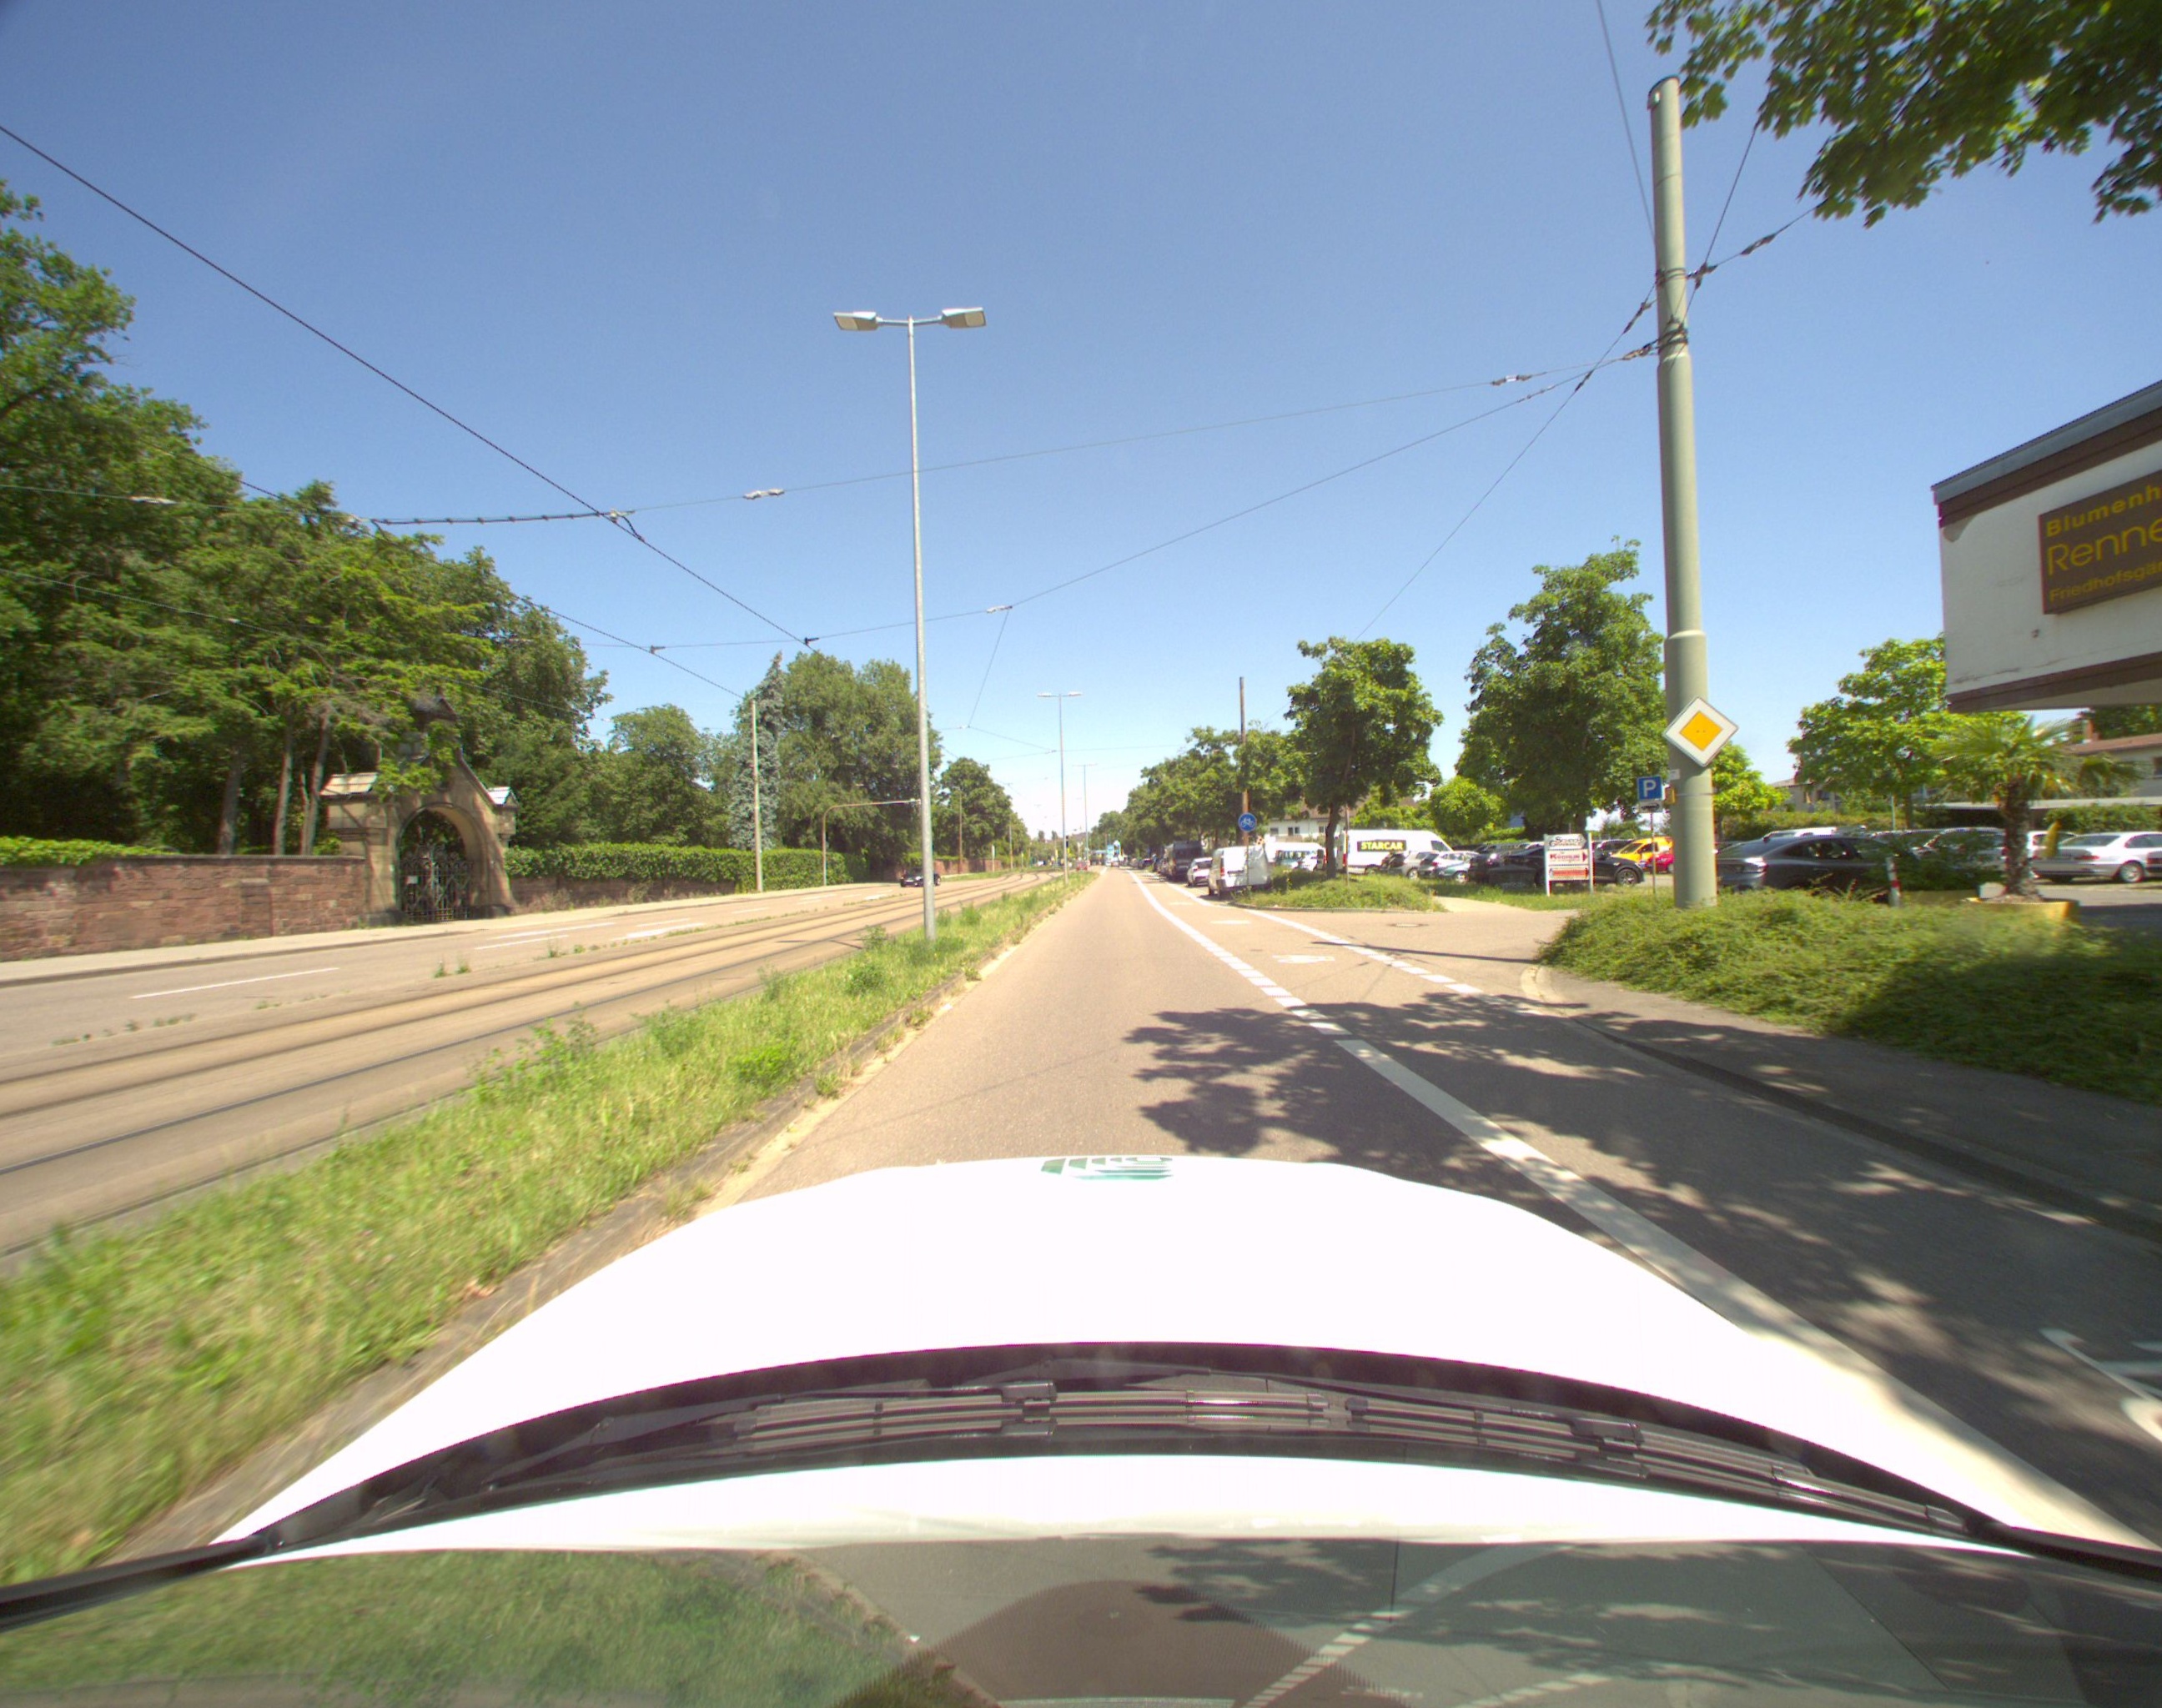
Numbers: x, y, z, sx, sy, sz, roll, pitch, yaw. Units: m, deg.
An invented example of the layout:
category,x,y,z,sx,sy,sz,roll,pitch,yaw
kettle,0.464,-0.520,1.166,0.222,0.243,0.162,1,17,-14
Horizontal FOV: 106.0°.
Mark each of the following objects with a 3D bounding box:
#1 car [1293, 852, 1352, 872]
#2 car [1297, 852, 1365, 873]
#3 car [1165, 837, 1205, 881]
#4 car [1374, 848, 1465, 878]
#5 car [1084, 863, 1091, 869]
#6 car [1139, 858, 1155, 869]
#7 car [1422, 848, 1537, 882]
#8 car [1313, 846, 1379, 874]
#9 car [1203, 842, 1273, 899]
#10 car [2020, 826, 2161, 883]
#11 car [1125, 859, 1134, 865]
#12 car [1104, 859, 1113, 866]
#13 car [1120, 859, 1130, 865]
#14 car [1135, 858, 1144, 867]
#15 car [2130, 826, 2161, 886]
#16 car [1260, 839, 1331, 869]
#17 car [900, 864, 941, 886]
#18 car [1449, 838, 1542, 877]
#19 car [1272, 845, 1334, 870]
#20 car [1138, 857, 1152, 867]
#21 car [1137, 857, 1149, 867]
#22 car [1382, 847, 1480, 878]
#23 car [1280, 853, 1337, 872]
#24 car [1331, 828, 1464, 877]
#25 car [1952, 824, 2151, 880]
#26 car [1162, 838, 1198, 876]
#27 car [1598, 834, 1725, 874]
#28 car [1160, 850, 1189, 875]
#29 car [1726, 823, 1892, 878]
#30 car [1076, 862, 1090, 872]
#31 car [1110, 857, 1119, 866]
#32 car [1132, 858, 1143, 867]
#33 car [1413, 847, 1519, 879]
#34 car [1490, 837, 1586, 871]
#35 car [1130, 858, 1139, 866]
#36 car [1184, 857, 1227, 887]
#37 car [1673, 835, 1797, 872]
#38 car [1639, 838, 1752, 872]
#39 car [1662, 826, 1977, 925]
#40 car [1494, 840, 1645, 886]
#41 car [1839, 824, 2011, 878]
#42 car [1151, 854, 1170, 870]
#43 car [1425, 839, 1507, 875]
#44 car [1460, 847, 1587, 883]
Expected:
category,x,y,z,sx,sy,sz,roll,pitch,yaw
car,17.772,0.603,60.111,3.874,1.406,1.727,1,-1,-1
car,17.539,0.567,57.256,4.263,1.406,1.727,1,-1,-1
car,6.911,0.328,54.747,1.990,2.636,6.081,-4,0,2
car,17.004,0.459,41.031,3.874,1.472,1.727,1,-1,-1
car,2.088,3.809,262.443,1.989,2.014,3.996,1,-1,-2
car,9.916,1.400,122.590,1.835,1.436,4.824,-4,0,0
car,16.286,0.455,33.418,3.872,1.325,1.728,1,-1,1
car,17.637,0.377,54.380,3.770,1.784,1.952,1,-1,-3
car,5.996,0.591,31.724,1.872,1.916,5.128,-4,0,3
car,28.909,-0.010,22.459,3.964,1.369,1.633,-3,-1,2
car,12.201,2.022,205.139,1.702,1.492,5.034,-4,0,-2
car,7.226,2.287,213.197,1.753,1.630,4.315,-4,0,-5
car,11.740,2.136,216.338,1.705,1.562,4.313,-4,0,-7
car,11.664,1.679,162.096,1.513,1.529,3.818,-4,0,2
car,28.418,-0.052,19.626,3.964,1.436,1.633,-3,-1,2
car,17.980,0.028,68.341,5.468,2.459,2.096,1,-1,2
car,-11.054,1.424,56.276,1.748,1.448,4.127,0,0,4
car,29.828,0.245,58.711,5.468,2.459,2.096,-3,-1,2
car,17.799,0.274,65.347,4.395,1.909,1.952,1,-1,-3
car,10.512,1.361,134.552,1.835,1.529,4.352,-4,0,0
car,10.636,1.355,140.189,1.833,1.706,4.630,-4,0,3
car,16.423,0.387,38.311,3.878,1.380,1.725,1,-1,-4
car,17.417,0.641,62.444,3.877,1.406,1.726,1,-1,-3
car,16.971,-0.067,43.937,6.311,2.529,2.266,1,-1,5
car,29.587,-0.062,24.923,3.964,1.444,1.633,-3,-1,2
car,7.432,0.237,61.676,1.990,2.636,6.145,-4,0,2
car,30.711,0.006,43.225,5.133,1.752,2.096,-3,-1,2
car,7.805,0.672,68.367,1.989,1.878,5.281,-4,0,4
car,29.298,-0.142,32.889,4.899,1.900,1.909,-3,-1,1
car,0.339,2.013,129.010,1.697,1.414,4.289,-1,0,6
car,6.865,1.564,167.883,1.748,1.630,4.327,-4,0,3
car,11.623,1.735,167.108,1.835,1.529,4.964,-4,0,-1
car,16.900,0.389,35.837,3.872,1.325,1.728,1,-1,1
car,30.017,0.007,53.609,5.076,1.876,2.096,-3,-1,2
car,12.394,1.796,188.267,1.833,1.694,4.781,-4,0,2
car,6.600,0.916,43.469,1.715,1.428,4.212,-4,-1,2
car,30.333,-0.011,37.855,4.293,1.436,1.633,-3,-1,2
car,30.513,0.043,40.538,4.293,1.436,1.633,-3,-1,2
car,13.552,0.377,15.137,4.127,1.611,1.943,-1,-1,-2
car,16.729,0.316,28.022,4.184,1.490,1.679,1,-1,1
car,28.763,-0.097,27.846,3.964,1.601,1.669,-3,-1,2
car,8.805,0.949,90.960,1.706,1.632,4.710,-4,-1,2
car,30.504,0.240,64.665,5.468,2.459,2.096,-3,-1,2
car,16.550,0.395,30.574,3.872,1.281,1.728,1,-1,1
